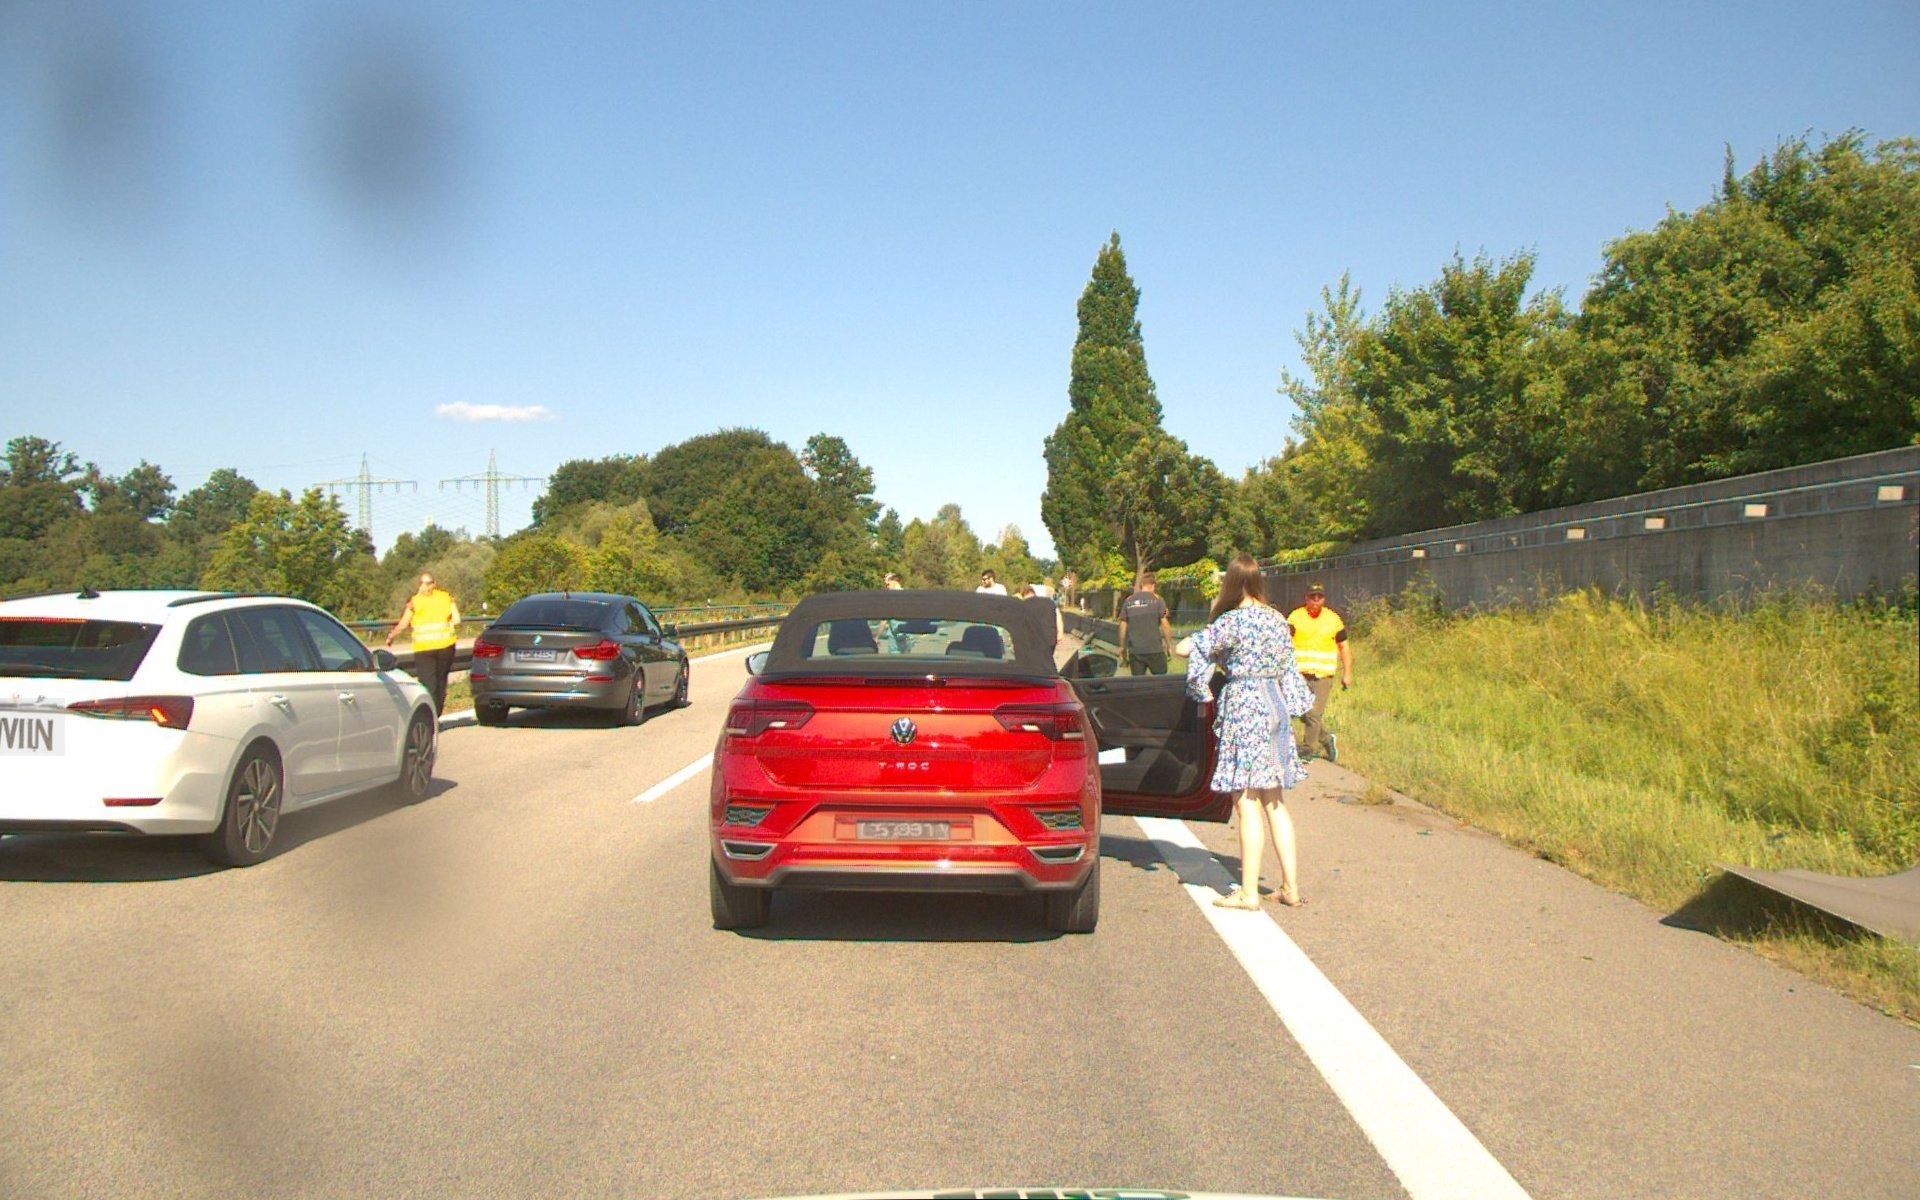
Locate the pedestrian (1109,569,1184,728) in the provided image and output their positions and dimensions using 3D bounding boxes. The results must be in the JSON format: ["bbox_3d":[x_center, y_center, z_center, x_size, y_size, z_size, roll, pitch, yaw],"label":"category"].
[{"bbox_3d":[2.172,0.549,19.184,0.794,1.790,0.829,1,-1,10],"label":"pedestrian"}]

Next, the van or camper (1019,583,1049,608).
[{"bbox_3d":[7.234,-0.394,161.030,1.951,2.356,4.473,1,0,15],"label":"van or camper"}]

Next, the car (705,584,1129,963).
[{"bbox_3d":[-0.171,0.696,8.807,1.697,1.513,4.210,1,0,0],"label":"car"}]

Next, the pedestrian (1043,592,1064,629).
[{"bbox_3d":[4.424,0.504,78.361,0.975,1.719,1.011,1,0,3],"label":"pedestrian"}]

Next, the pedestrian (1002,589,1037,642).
[{"bbox_3d":[1.940,0.499,53.992,1.033,1.719,1.018,1,0,7],"label":"pedestrian"}]

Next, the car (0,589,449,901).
[{"bbox_3d":[-4.572,0.678,9.970,1.660,1.467,4.210,1,0,0],"label":"car"}]

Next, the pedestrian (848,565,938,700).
[{"bbox_3d":[-0.923,0.445,23.019,1.080,1.820,1.092,1,0,6],"label":"pedestrian"}]

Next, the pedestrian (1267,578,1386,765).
[{"bbox_3d":[3.434,0.649,15.602,0.937,1.682,1.279,-1,0,6],"label":"pedestrian"}]

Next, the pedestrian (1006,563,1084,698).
[{"bbox_3d":[1.228,0.433,24.135,1.067,1.916,1.068,-1,0,-1],"label":"pedestrian"}]

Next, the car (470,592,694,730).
[{"bbox_3d":[-4.371,0.639,19.765,1.660,1.451,4.334,1,0,0],"label":"car"}]

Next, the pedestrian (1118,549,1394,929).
[{"bbox_3d":[1.439,0.626,8.211,0.878,1.725,1.121,-1,0,-23],"label":"pedestrian"}]

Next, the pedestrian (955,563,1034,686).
[{"bbox_3d":[0.550,0.390,27.003,1.085,1.946,1.255,-1,0,-8],"label":"pedestrian"}]

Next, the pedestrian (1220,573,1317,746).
[{"bbox_3d":[3.219,0.614,17.317,0.876,1.755,0.754,1,-1,1],"label":"pedestrian"}]

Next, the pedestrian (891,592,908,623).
[{"bbox_3d":[-3.372,0.429,92.225,0.775,1.719,0.793,1,-1,5],"label":"pedestrian"}]

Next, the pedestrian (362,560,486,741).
[{"bbox_3d":[-5.547,0.493,17.091,1.029,1.794,1.108,-1,0,-29],"label":"pedestrian"}]
